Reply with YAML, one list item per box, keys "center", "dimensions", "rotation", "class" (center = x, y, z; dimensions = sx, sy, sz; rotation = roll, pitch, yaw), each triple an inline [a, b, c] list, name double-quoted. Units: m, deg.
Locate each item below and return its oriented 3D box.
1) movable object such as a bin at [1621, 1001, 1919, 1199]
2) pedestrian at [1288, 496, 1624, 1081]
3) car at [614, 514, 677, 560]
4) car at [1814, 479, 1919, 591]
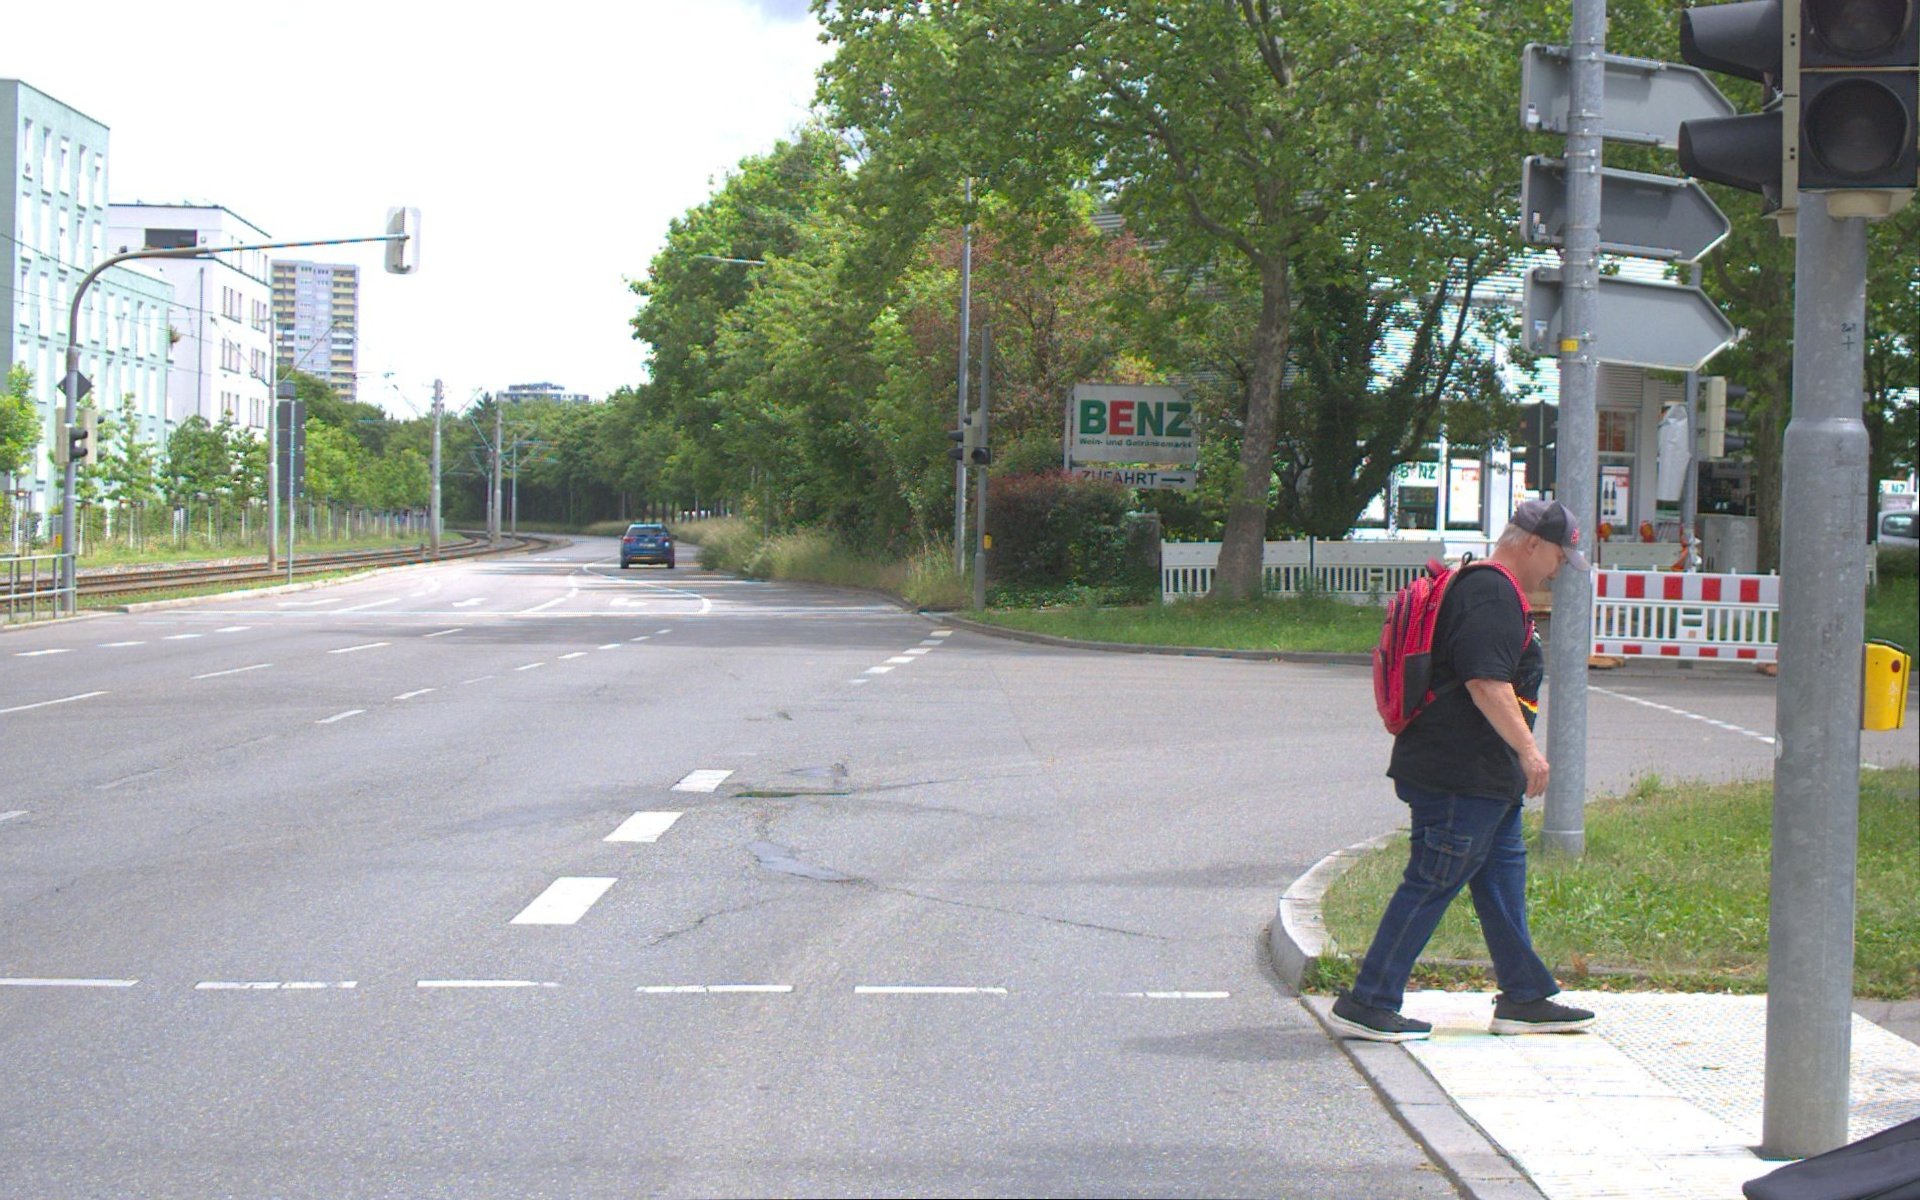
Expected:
- center: [1.537, 1.033, 5.535]
  dimensions: [0.795, 0.659, 0.778]
  rotation: [1, 1, 0]
  class: "movable object such as a bin"
- center: [1.420, 0.503, 9.886]
  dimensions: [0.893, 1.591, 0.908]
  rotation: [1, 1, 8]
  class: "pedestrian"
- center: [-10.322, -2.079, 112.634]
  dimensions: [1.982, 1.481, 4.492]
  rotation: [0, 1, -6]
  class: "car"
- center: [17.742, -1.180, 62.558]
  dimensions: [1.993, 2.007, 4.000]
  rotation: [0, 2, -32]
  class: "car"
